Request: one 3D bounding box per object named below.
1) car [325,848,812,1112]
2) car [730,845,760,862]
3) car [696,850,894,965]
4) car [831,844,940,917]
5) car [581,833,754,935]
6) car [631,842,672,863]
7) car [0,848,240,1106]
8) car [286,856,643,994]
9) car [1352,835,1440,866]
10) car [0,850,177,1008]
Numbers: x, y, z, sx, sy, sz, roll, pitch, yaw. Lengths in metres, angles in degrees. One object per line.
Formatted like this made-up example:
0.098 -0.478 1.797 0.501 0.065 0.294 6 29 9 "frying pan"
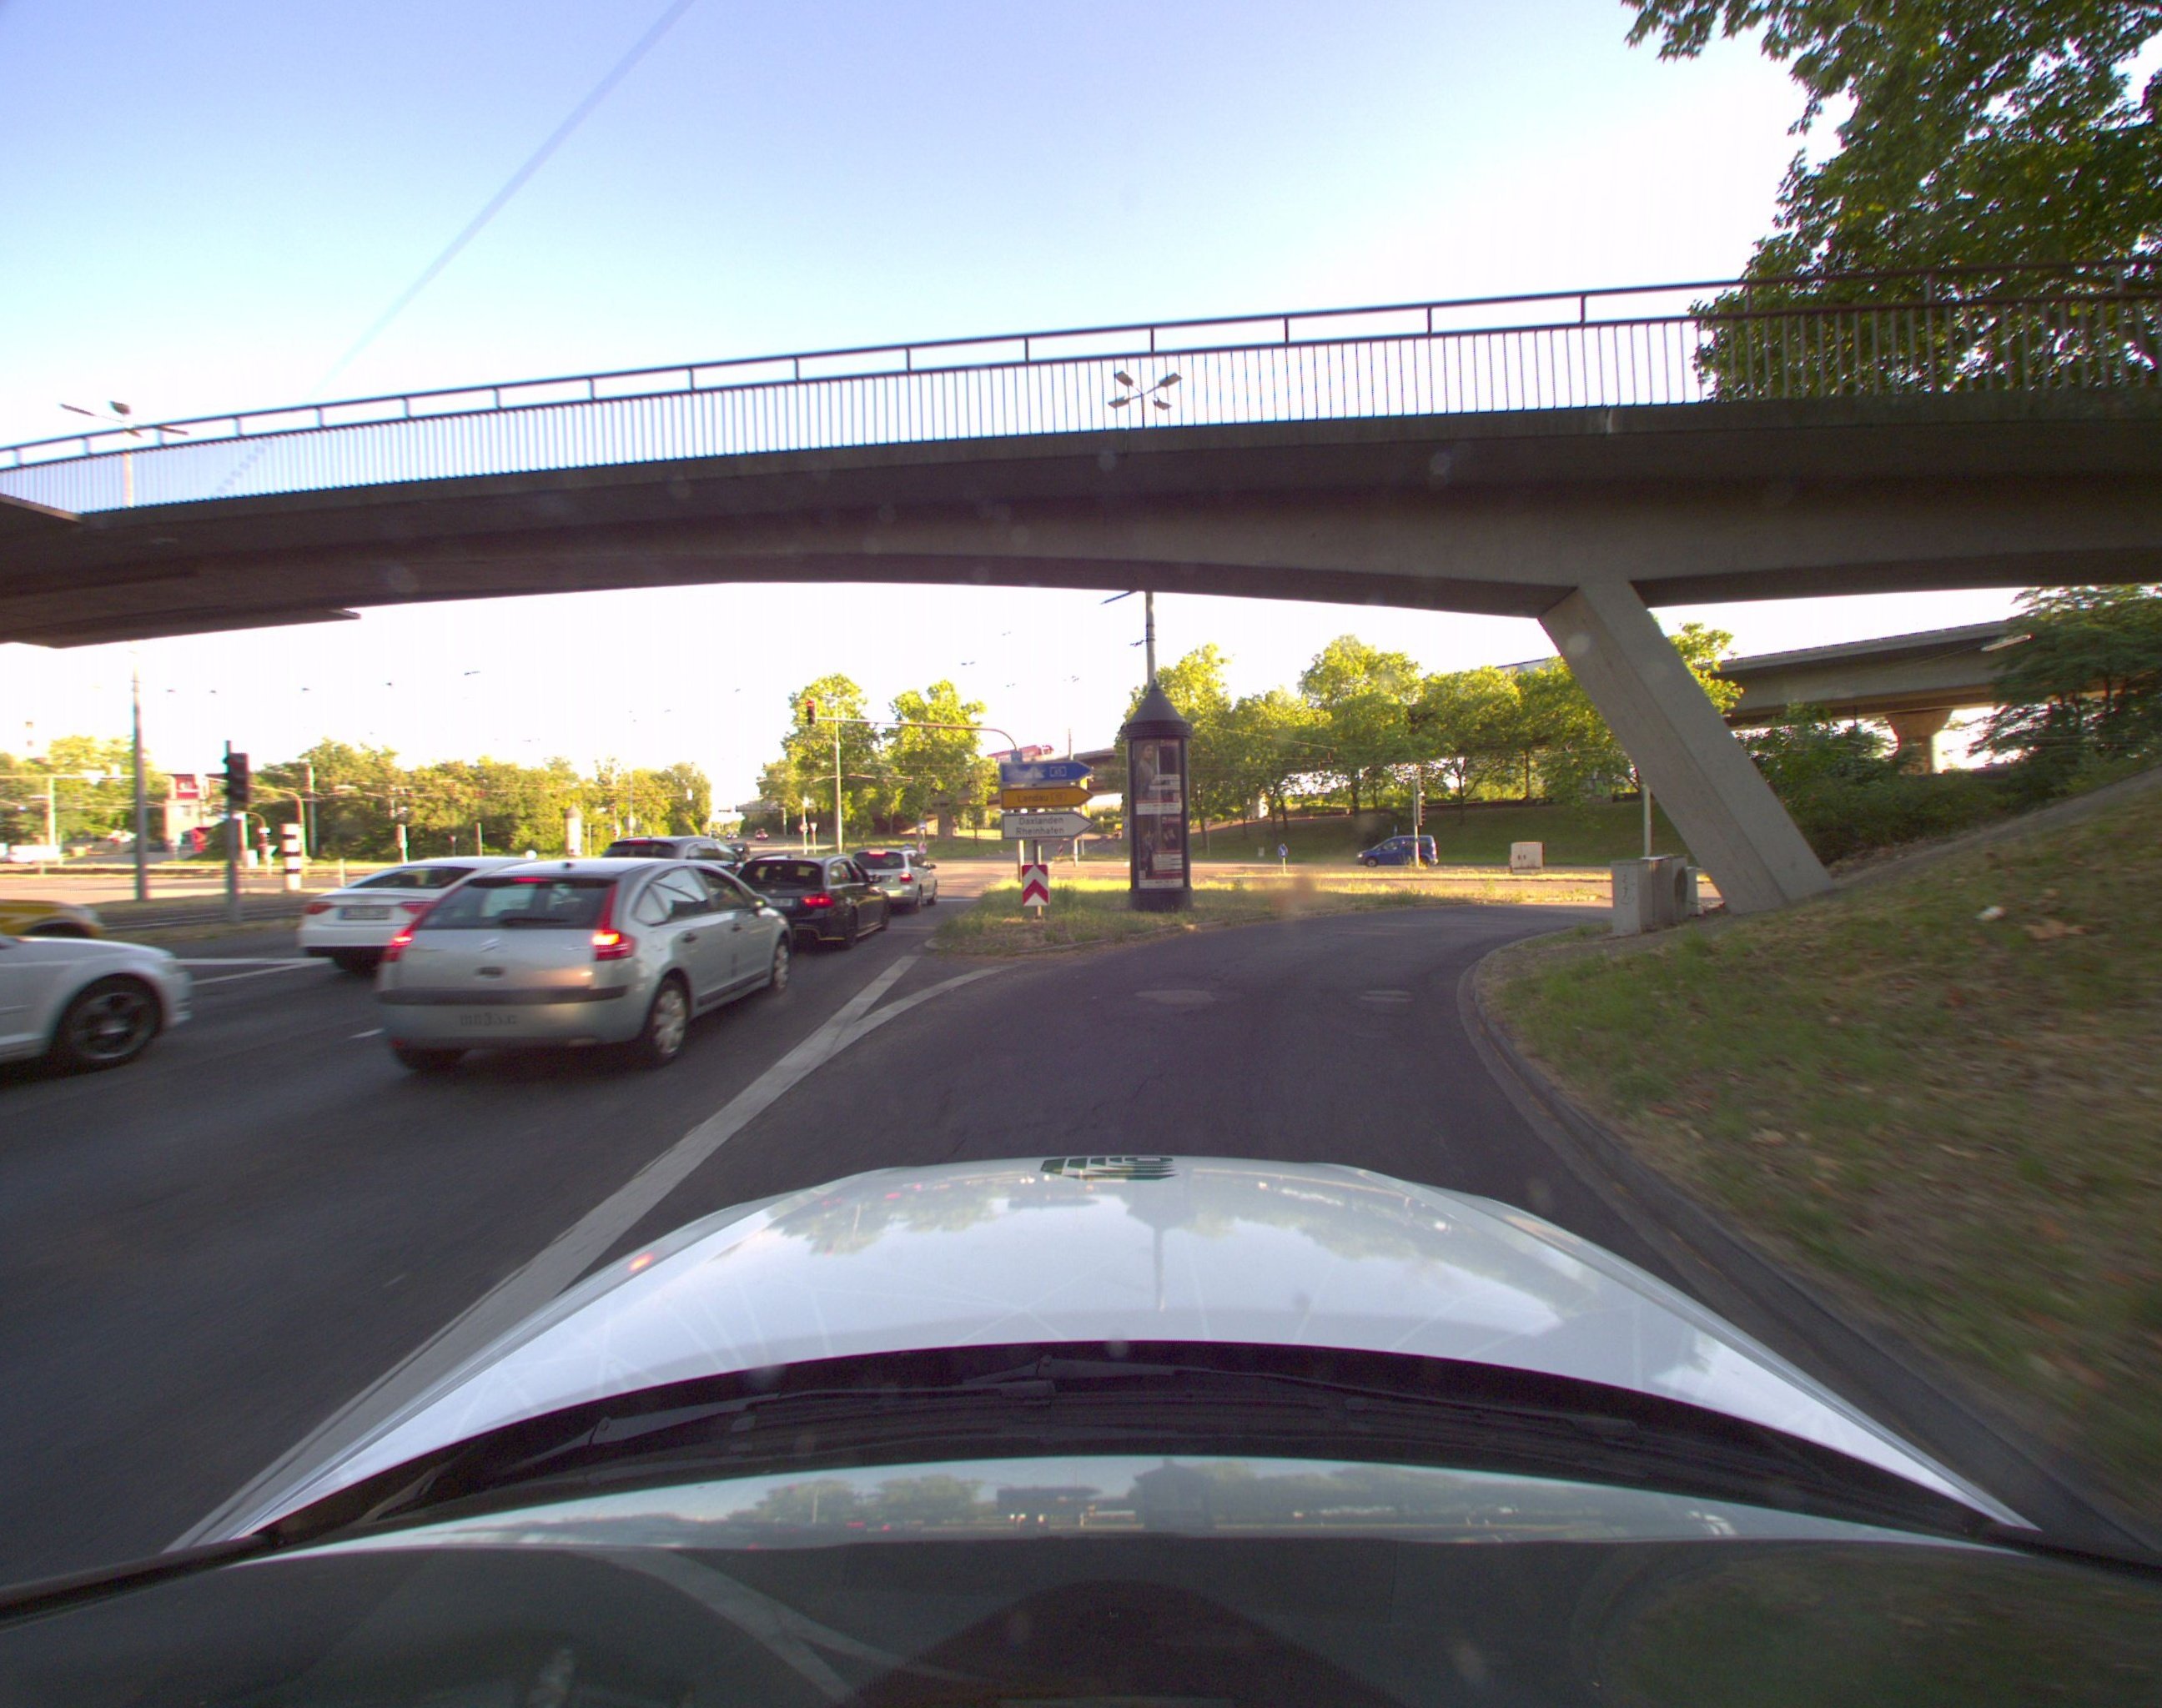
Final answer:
-3.832 0.765 7.075 1.789 1.481 3.995 -3 1 -4 "car"
-36.164 -0.063 87.673 1.875 1.771 3.993 0 1 -5 "car"
-4.344 0.698 13.174 1.789 1.382 4.471 -3 1 -4 "car"
-4.556 0.547 19.566 1.789 1.441 3.995 -3 1 -4 "car"
-8.693 0.524 17.653 1.792 1.792 4.812 -3 1 -8 "car"
-39.035 -0.163 74.146 1.875 1.771 3.993 0 1 -5 "car"
-7.453 0.819 4.336 1.659 1.565 4.185 -3 1 -4 "car"
-7.990 0.785 11.214 1.738 1.432 4.406 0 1 -4 "car"
17.585 -0.221 45.649 4.469 1.692 2.009 0 1 16 "car"
-11.633 0.812 7.731 1.659 1.565 3.995 -3 1 -4 "car"
